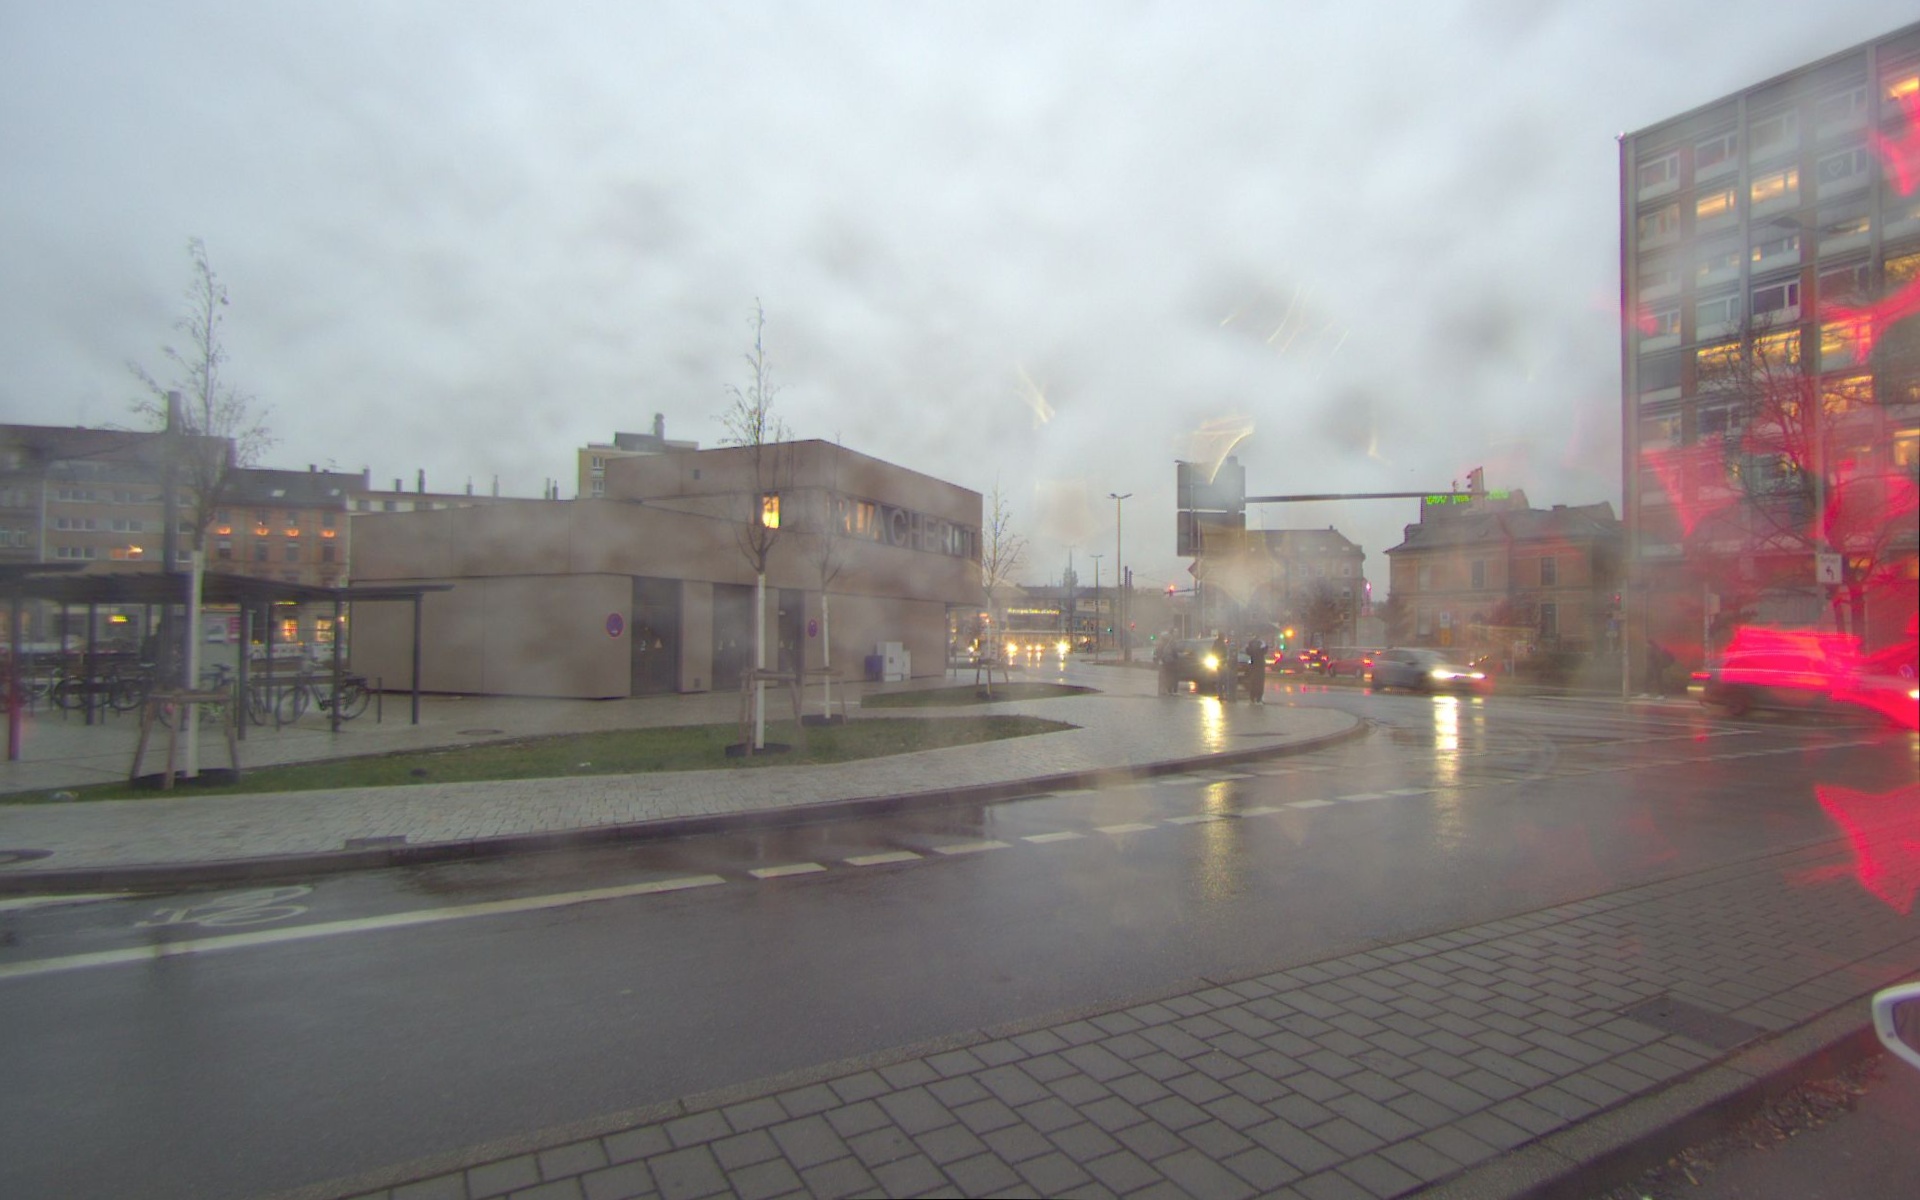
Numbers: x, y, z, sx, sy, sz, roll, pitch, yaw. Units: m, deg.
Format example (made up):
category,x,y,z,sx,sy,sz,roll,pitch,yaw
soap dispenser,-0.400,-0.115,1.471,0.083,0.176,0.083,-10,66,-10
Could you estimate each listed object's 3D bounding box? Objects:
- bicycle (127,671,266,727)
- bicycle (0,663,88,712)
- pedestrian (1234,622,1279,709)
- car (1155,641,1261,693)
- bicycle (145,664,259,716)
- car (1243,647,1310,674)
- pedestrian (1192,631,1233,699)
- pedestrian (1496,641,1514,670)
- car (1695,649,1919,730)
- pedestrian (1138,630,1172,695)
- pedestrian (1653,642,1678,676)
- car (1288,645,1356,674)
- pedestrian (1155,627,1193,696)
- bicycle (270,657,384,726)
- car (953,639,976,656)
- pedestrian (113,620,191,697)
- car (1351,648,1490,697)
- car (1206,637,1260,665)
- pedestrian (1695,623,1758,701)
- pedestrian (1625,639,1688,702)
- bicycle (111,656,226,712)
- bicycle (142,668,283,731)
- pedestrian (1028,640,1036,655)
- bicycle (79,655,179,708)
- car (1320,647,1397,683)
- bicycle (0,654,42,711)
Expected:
category,x,y,z,sx,sy,sz,roll,pitch,yaw
bicycle,-13.591,1.740,17.950,0.466,0.903,1.923,1,-2,29
bicycle,-18.514,1.735,19.988,0.466,0.903,1.693,1,-2,24
pedestrian,7.195,1.581,24.382,0.971,2.047,0.802,-1,-2,19
car,8.119,2.174,33.274,1.745,1.598,3.990,0,-2,-14
bicycle,-15.185,1.781,20.173,0.466,0.968,1.767,1,-2,29
car,20.086,3.811,63.829,3.741,1.502,1.602,2,0,-1
pedestrian,6.714,1.713,26.742,0.838,1.778,0.659,0,-2,-14
pedestrian,32.183,3.263,59.300,0.626,1.710,0.640,0,-2,-13
car,18.327,1.797,21.005,1.782,1.496,4.655,2,-3,-17
pedestrian,5.467,1.745,28.151,0.543,1.793,0.735,1,-3,-38
pedestrian,34.235,2.851,48.743,0.548,1.649,0.760,0,-2,-15
car,20.897,3.414,58.075,3.364,1.481,1.515,2,0,-1
pedestrian,5.880,1.687,27.594,0.670,1.863,0.727,1,-3,-38
bicycle,-11.755,1.678,18.718,0.605,1.172,1.755,1,-2,20
car,0.391,4.538,95.589,1.649,1.598,3.420,0,-2,-9
pedestrian,-19.291,1.394,24.000,0.992,1.787,1.067,-1,-2,19
car,15.355,2.398,33.818,1.780,1.496,4.661,1,-3,-13
car,19.616,3.661,72.351,3.514,1.850,1.672,2,0,8
pedestrian,20.186,1.630,26.470,0.946,2.004,0.925,0,-2,-24
pedestrian,21.340,2.142,30.791,1.117,1.867,1.004,-2,-2,-3
bicycle,-16.535,1.739,21.038,0.466,1.087,1.830,1,-2,26
bicycle,-12.941,1.705,17.458,0.466,0.989,1.923,1,-2,29
pedestrian,9.748,6.445,136.703,0.960,2.040,0.921,-1,-2,11
bicycle,-17.692,1.713,21.431,0.511,1.050,1.573,1,-2,19
car,20.492,3.315,51.815,1.795,1.589,3.991,2,0,-11
bicycle,-19.399,1.635,19.837,0.466,1.122,1.797,1,-2,29
